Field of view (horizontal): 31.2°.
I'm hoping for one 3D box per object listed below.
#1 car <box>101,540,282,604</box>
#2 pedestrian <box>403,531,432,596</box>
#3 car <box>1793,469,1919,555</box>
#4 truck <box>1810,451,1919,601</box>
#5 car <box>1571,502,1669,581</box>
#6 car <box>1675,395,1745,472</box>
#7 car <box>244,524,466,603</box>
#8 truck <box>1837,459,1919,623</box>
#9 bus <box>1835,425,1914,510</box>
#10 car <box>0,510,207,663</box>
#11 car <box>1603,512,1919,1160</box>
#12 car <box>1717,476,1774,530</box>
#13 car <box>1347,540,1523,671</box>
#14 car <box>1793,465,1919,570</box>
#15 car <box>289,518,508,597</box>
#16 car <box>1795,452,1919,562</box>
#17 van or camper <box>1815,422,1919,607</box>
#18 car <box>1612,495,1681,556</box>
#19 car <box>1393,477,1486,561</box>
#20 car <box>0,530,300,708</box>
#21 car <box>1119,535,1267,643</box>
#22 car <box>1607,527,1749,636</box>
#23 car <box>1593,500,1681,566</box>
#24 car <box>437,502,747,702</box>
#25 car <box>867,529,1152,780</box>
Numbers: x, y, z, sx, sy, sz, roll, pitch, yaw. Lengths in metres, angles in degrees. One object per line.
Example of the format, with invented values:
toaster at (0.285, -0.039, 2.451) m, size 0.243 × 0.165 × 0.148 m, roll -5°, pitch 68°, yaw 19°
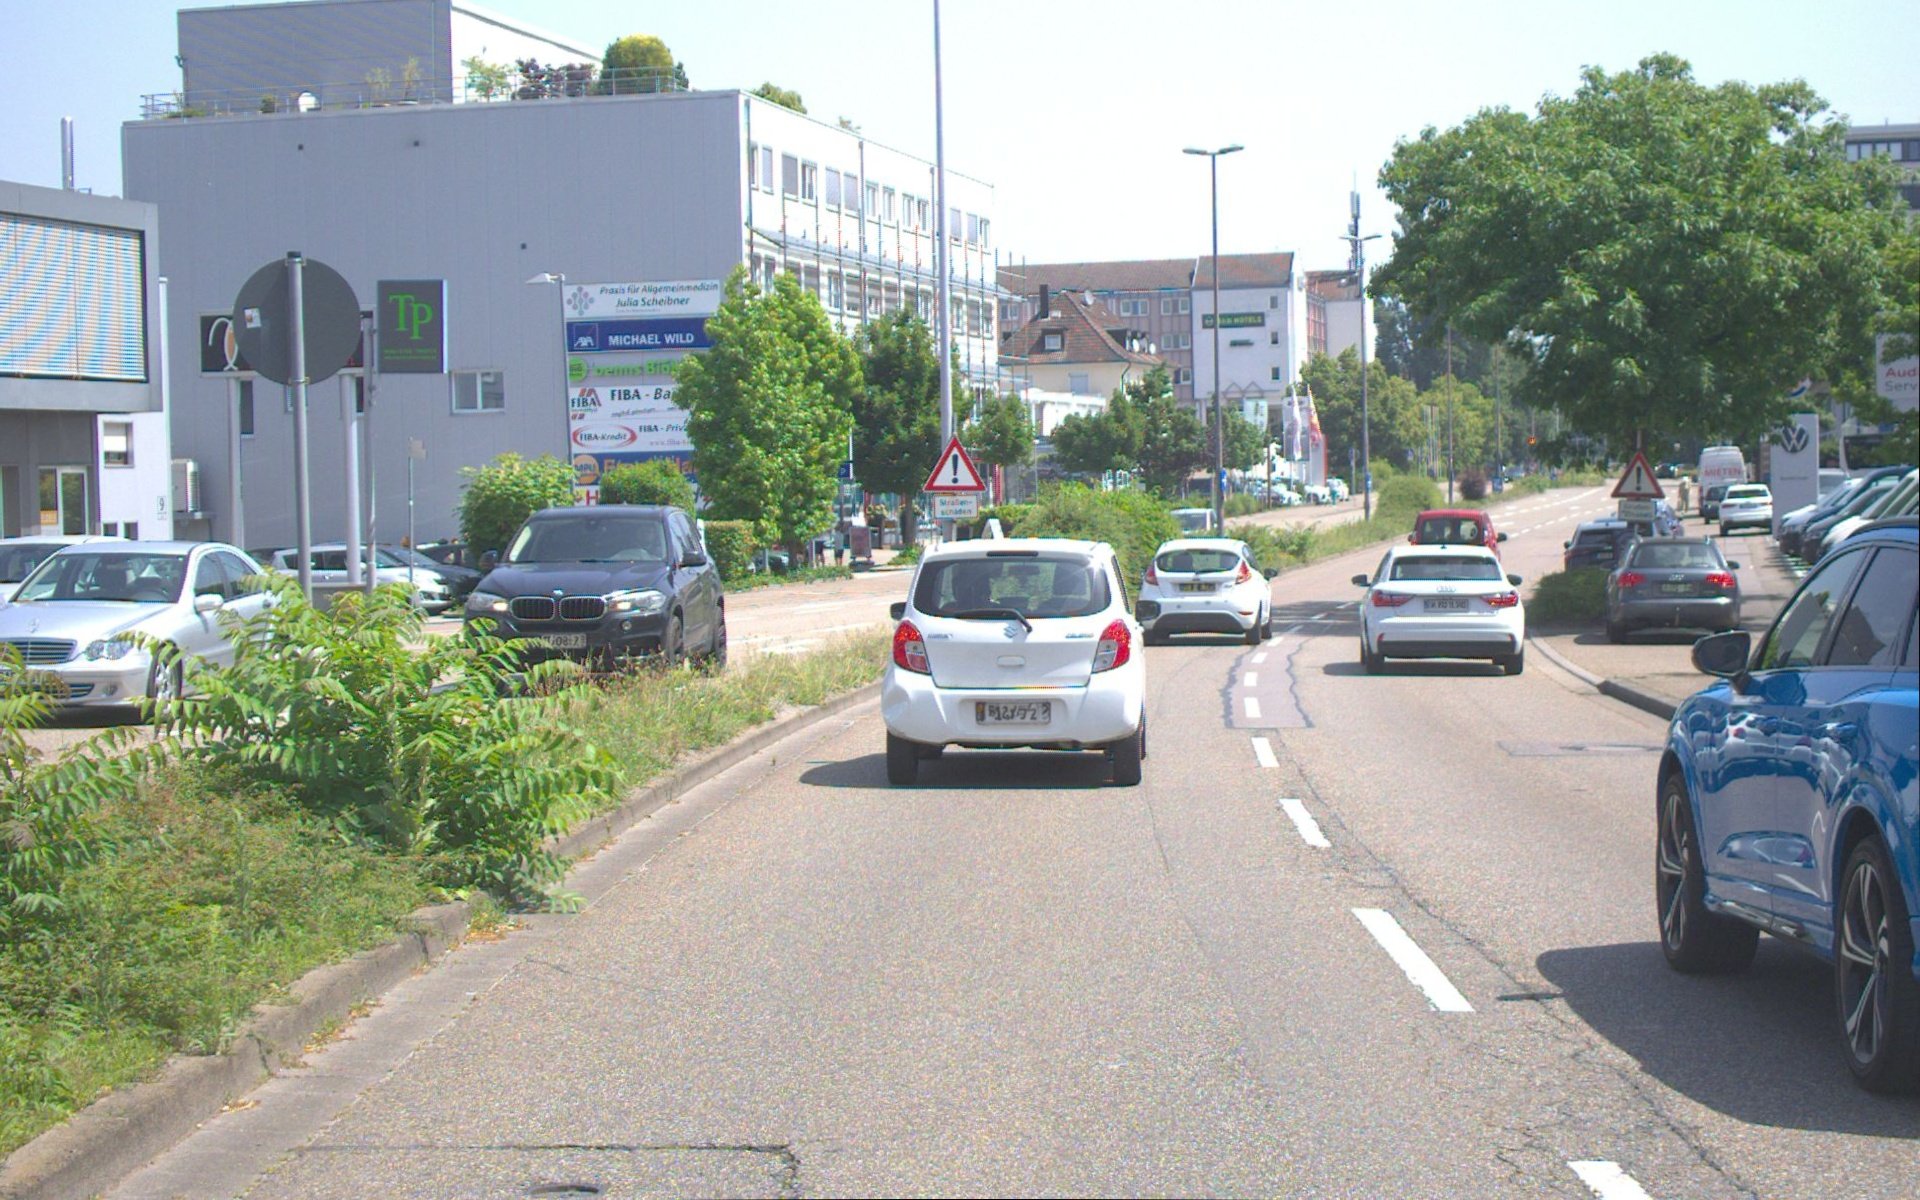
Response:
car at (-19.355, -0.719, 86.642) m, size 3.972 × 1.462 × 1.964 m, roll -1°, pitch 2°, yaw 7°
pedestrian at (-13.947, -0.933, 88.321) m, size 0.546 × 1.651 × 0.625 m, roll 0°, pitch 0°, yaw 11°
car at (22.931, -2.097, 81.834) m, size 5.898 × 2.006 × 2.257 m, roll 1°, pitch 2°, yaw 16°
truck at (17.094, -1.330, 57.988) m, size 5.250 × 2.427 × 2.110 m, roll -2°, pitch 2°, yaw 14°
car at (14.720, -1.326, 76.451) m, size 1.962 × 1.524 × 5.159 m, roll -3°, pitch 2°, yaw 12°
car at (30.990, -6.850, 142.254) m, size 2.134 × 2.829 × 7.307 m, roll -7°, pitch 1°, yaw 10°
car at (-11.850, -0.718, 67.420) m, size 3.988 × 1.454 × 1.575 m, roll -1°, pitch 0°, yaw 7°
truck at (16.190, -0.985, 50.635) m, size 6.249 × 2.328 × 2.367 m, roll -2°, pitch 2°, yaw 14°
bus at (36.202, -5.313, 135.875) m, size 2.806 × 3.068 × 12.277 m, roll 0°, pitch 3°, yaw 16°
car at (-9.750, -0.169, 37.256) m, size 1.898 × 1.561 × 4.197 m, roll 0°, pitch 1°, yaw 6°
car at (3.326, 0.541, 10.524) m, size 1.913 × 1.591 × 4.396 m, roll 0°, pitch 1°, yaw 0°
car at (25.394, -3.158, 111.183) m, size 1.668 × 1.590 × 4.611 m, roll -2°, pitch 2°, yaw 12°
car at (5.299, 0.022, 38.731) m, size 1.667 × 1.394 × 3.793 m, roll 0°, pitch 1°, yaw 3°
car at (20.593, -1.837, 74.269) m, size 4.902 × 2.107 × 2.128 m, roll -2°, pitch 2°, yaw 12°
car at (-11.448, -0.866, 70.144) m, size 3.999 × 1.366 × 1.668 m, roll -2°, pitch 2°, yaw 15°
car at (22.261, -2.125, 79.139) m, size 5.847 × 2.515 × 2.203 m, roll 0°, pitch 1°, yaw 15°
van or camper at (17.263, -1.454, 55.041) m, size 6.800 × 2.888 × 2.274 m, roll -1°, pitch 2°, yaw 12°
car at (18.624, -2.046, 93.381) m, size 1.714 × 1.543 × 4.789 m, roll -2°, pitch 1°, yaw 10°
car at (10.099, -1.709, 72.596) m, size 1.795 × 1.723 × 3.972 m, roll 0°, pitch 1°, yaw 6°
car at (-6.971, 0.116, 28.320) m, size 1.898 × 1.356 × 4.197 m, roll 0°, pitch 1°, yaw 6°
car at (3.227, -0.181, 48.308) m, size 1.830 × 1.445 × 4.000 m, roll 0°, pitch 1°, yaw 1°
car at (9.857, -0.288, 47.446) m, size 1.798 × 1.401 × 4.318 m, roll 1°, pitch 2°, yaw 10°
car at (16.181, -1.629, 82.311) m, size 1.855 × 1.476 × 5.155 m, roll -1°, pitch 2°, yaw 9°
car at (-3.395, -0.006, 32.680) m, size 1.909 × 1.745 × 4.759 m, roll 0°, pitch 0°, yaw 7°
car at (0.289, 0.314, 22.409) m, size 1.712 × 1.505 × 3.247 m, roll 0°, pitch 0°, yaw 0°
